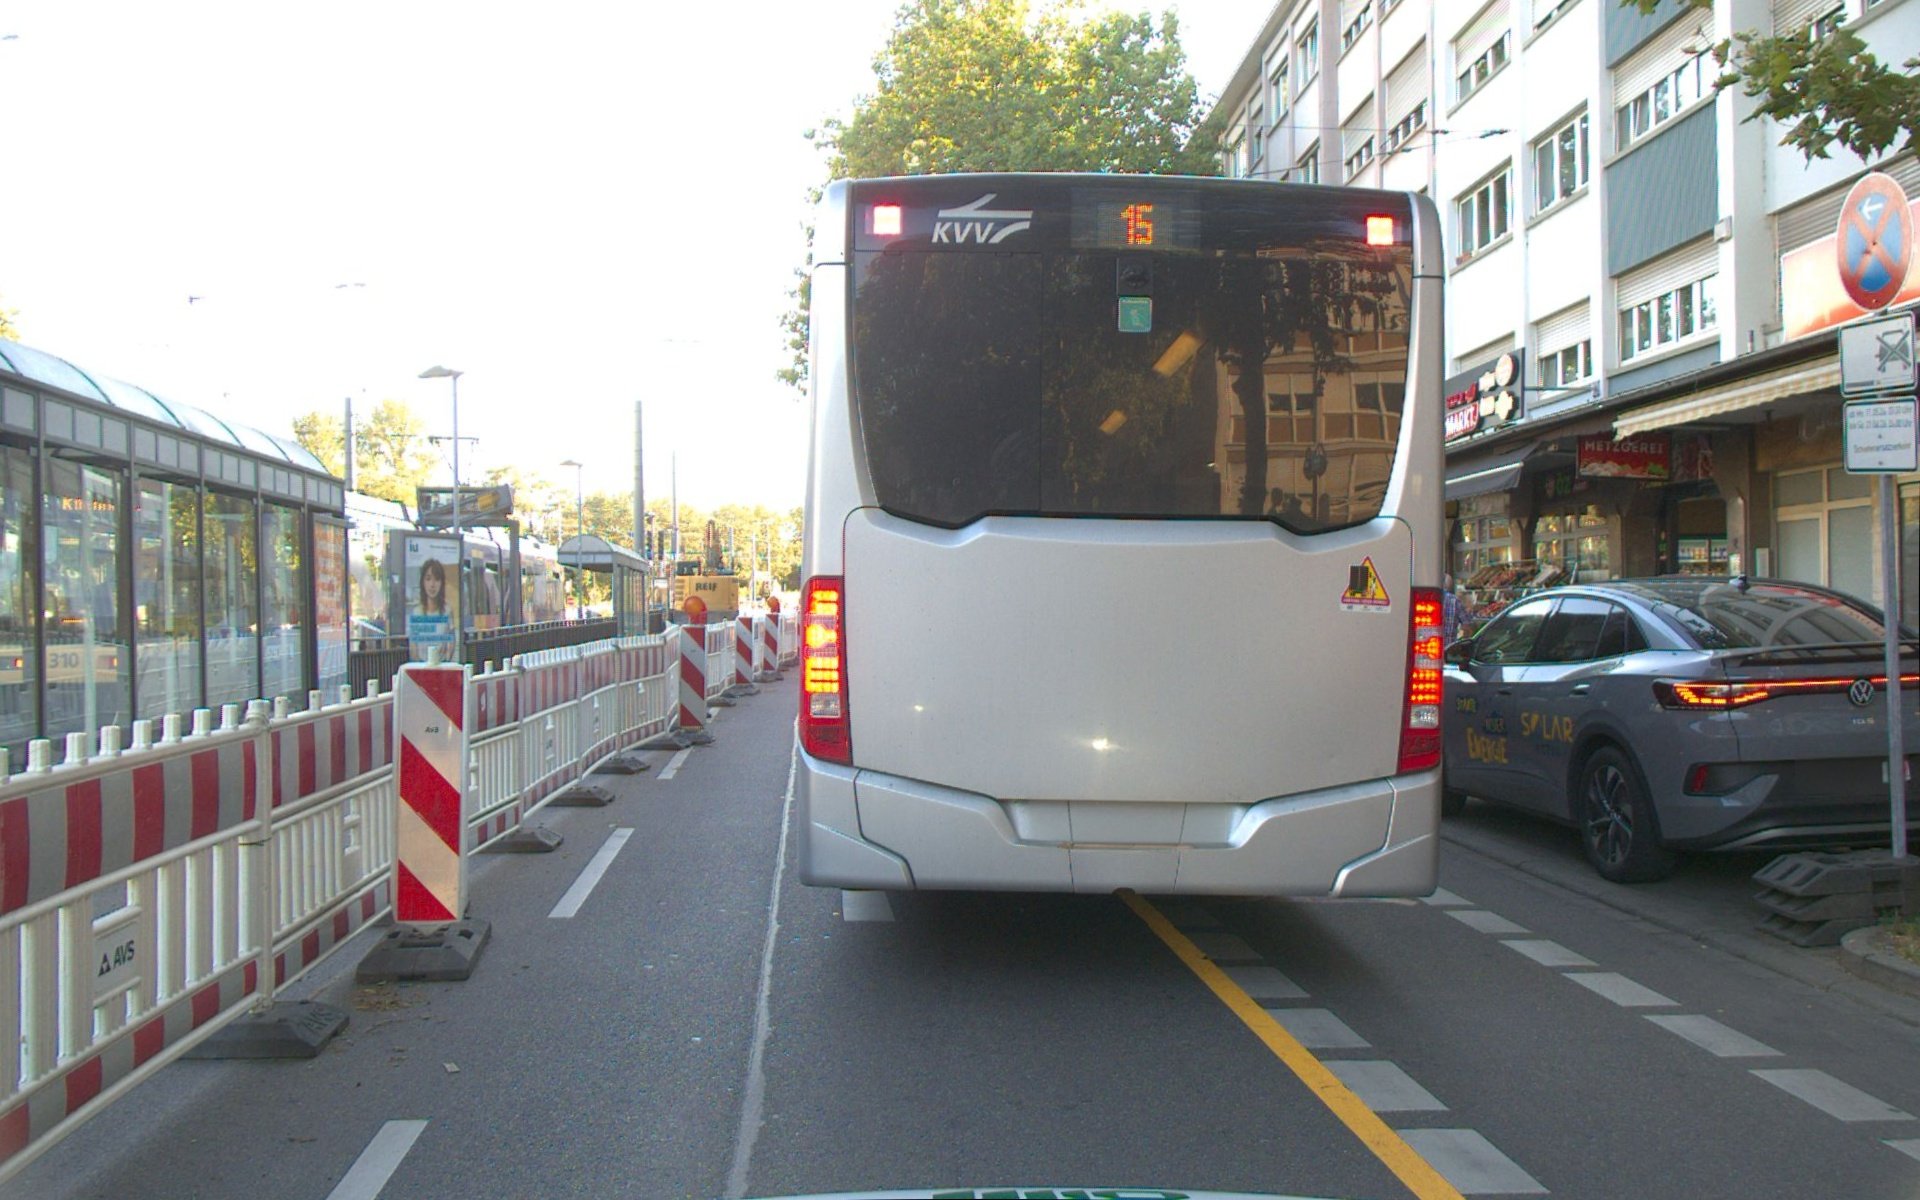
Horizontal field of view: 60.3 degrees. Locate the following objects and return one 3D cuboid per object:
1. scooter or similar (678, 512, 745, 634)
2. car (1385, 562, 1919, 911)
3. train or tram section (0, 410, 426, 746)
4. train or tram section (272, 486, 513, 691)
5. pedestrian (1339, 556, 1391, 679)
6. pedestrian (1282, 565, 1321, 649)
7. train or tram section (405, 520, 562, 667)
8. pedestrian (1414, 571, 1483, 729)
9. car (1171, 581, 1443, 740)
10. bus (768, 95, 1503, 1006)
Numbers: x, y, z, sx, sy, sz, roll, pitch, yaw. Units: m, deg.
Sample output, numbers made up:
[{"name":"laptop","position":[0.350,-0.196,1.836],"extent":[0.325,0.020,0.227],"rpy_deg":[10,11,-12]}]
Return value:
[{"name":"scooter or similar","position":[-9.690,-0.998,64.719],"extent":[2.422,4.549,5.962],"rpy_deg":[0,0,-8]},{"name":"car","position":[4.356,0.627,10.209],"extent":[1.955,1.609,4.363],"rpy_deg":[-3,1,-5]},{"name":"train or tram section","position":[-10.332,-0.219,23.736],"extent":[2.635,3.595,11.755],"rpy_deg":[1,0,-6]},{"name":"train or tram section","position":[-11.697,-0.186,35.336],"extent":[2.636,3.621,11.560],"rpy_deg":[1,0,-8]},{"name":"pedestrian","position":[6.881,0.289,28.130],"extent":[0.672,2.049,0.786],"rpy_deg":[-1,0,-1]},{"name":"pedestrian","position":[7.767,0.159,37.648],"extent":[0.672,1.869,0.785],"rpy_deg":[-1,0,-4]},{"name":"train or tram section","position":[-13.217,-0.147,46.817],"extent":[2.636,3.594,11.559],"rpy_deg":[1,0,-8]},{"name":"pedestrian","position":[5.361,0.542,18.182],"extent":[0.649,1.696,0.601],"rpy_deg":[-2,-1,15]},{"name":"car","position":[3.998,0.629,19.874],"extent":[1.955,1.609,4.363],"rpy_deg":[-3,1,-5]},{"name":"bus","position":[0.575,-0.164,9.876],"extent":[2.558,3.181,7.991],"rpy_deg":[1,0,-1]}]
